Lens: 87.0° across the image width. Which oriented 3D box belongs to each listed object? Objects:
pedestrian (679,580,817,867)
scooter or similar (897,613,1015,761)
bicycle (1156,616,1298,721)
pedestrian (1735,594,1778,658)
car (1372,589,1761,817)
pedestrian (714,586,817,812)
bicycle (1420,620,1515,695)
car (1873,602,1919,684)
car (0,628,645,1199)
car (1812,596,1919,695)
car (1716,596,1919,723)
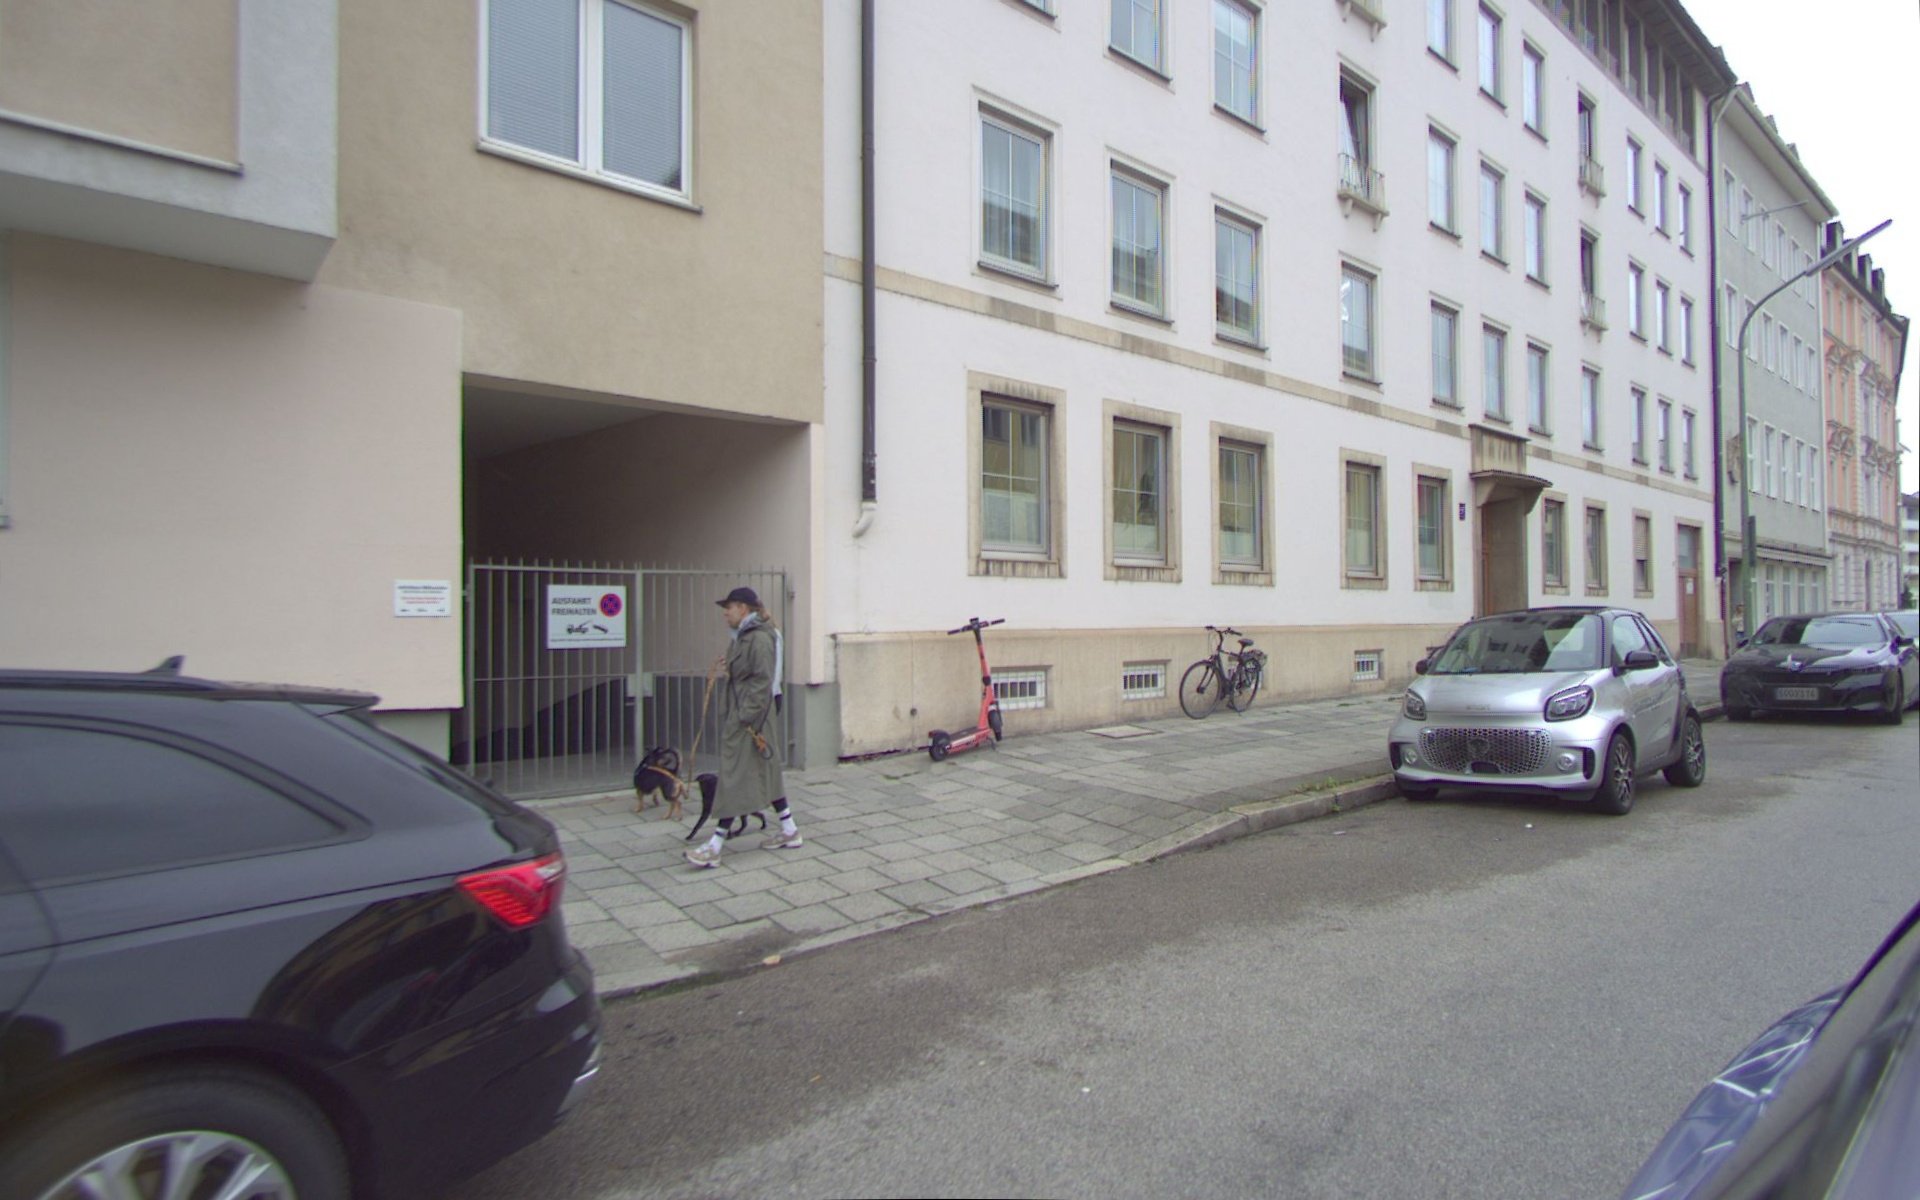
[{"bbox_3d":[-1.336,0.720,6.362,0.619,1.675,0.598,1,1,-40],"label":"pedestrian"},{"bbox_3d":[-0.027,0.803,9.786,0.598,1.267,1.023,1,3,42],"label":"scooter or similar"},{"bbox_3d":[3.323,0.796,12.489,1.992,1.178,0.660,1,0,-40],"label":"bicycle"},{"bbox_3d":[21.201,0.680,26.946,0.813,1.646,0.736,1,0,-39],"label":"pedestrian"},{"bbox_3d":[5.389,0.767,8.821,3.811,1.555,1.674,1,-4,-40],"label":"car"},{"bbox_3d":[-1.463,0.704,7.599,0.550,1.604,0.532,1,1,-40],"label":"pedestrian"},{"bbox_3d":[8.395,0.913,16.711,1.992,1.140,0.660,1,0,-40],"label":"bicycle"},{"bbox_3d":[20.629,0.850,20.990,4.250,1.605,1.782,1,-3,-38],"label":"car"},{"bbox_3d":[-2.976,0.834,1.578,4.405,1.439,1.797,0,-4,-42],"label":"car"},{"bbox_3d":[16.887,0.780,18.060,4.194,1.605,1.782,1,-3,-39],"label":"car"},{"bbox_3d":[12.792,0.782,14.760,4.732,1.564,1.858,0,-3,-42],"label":"car"}]
